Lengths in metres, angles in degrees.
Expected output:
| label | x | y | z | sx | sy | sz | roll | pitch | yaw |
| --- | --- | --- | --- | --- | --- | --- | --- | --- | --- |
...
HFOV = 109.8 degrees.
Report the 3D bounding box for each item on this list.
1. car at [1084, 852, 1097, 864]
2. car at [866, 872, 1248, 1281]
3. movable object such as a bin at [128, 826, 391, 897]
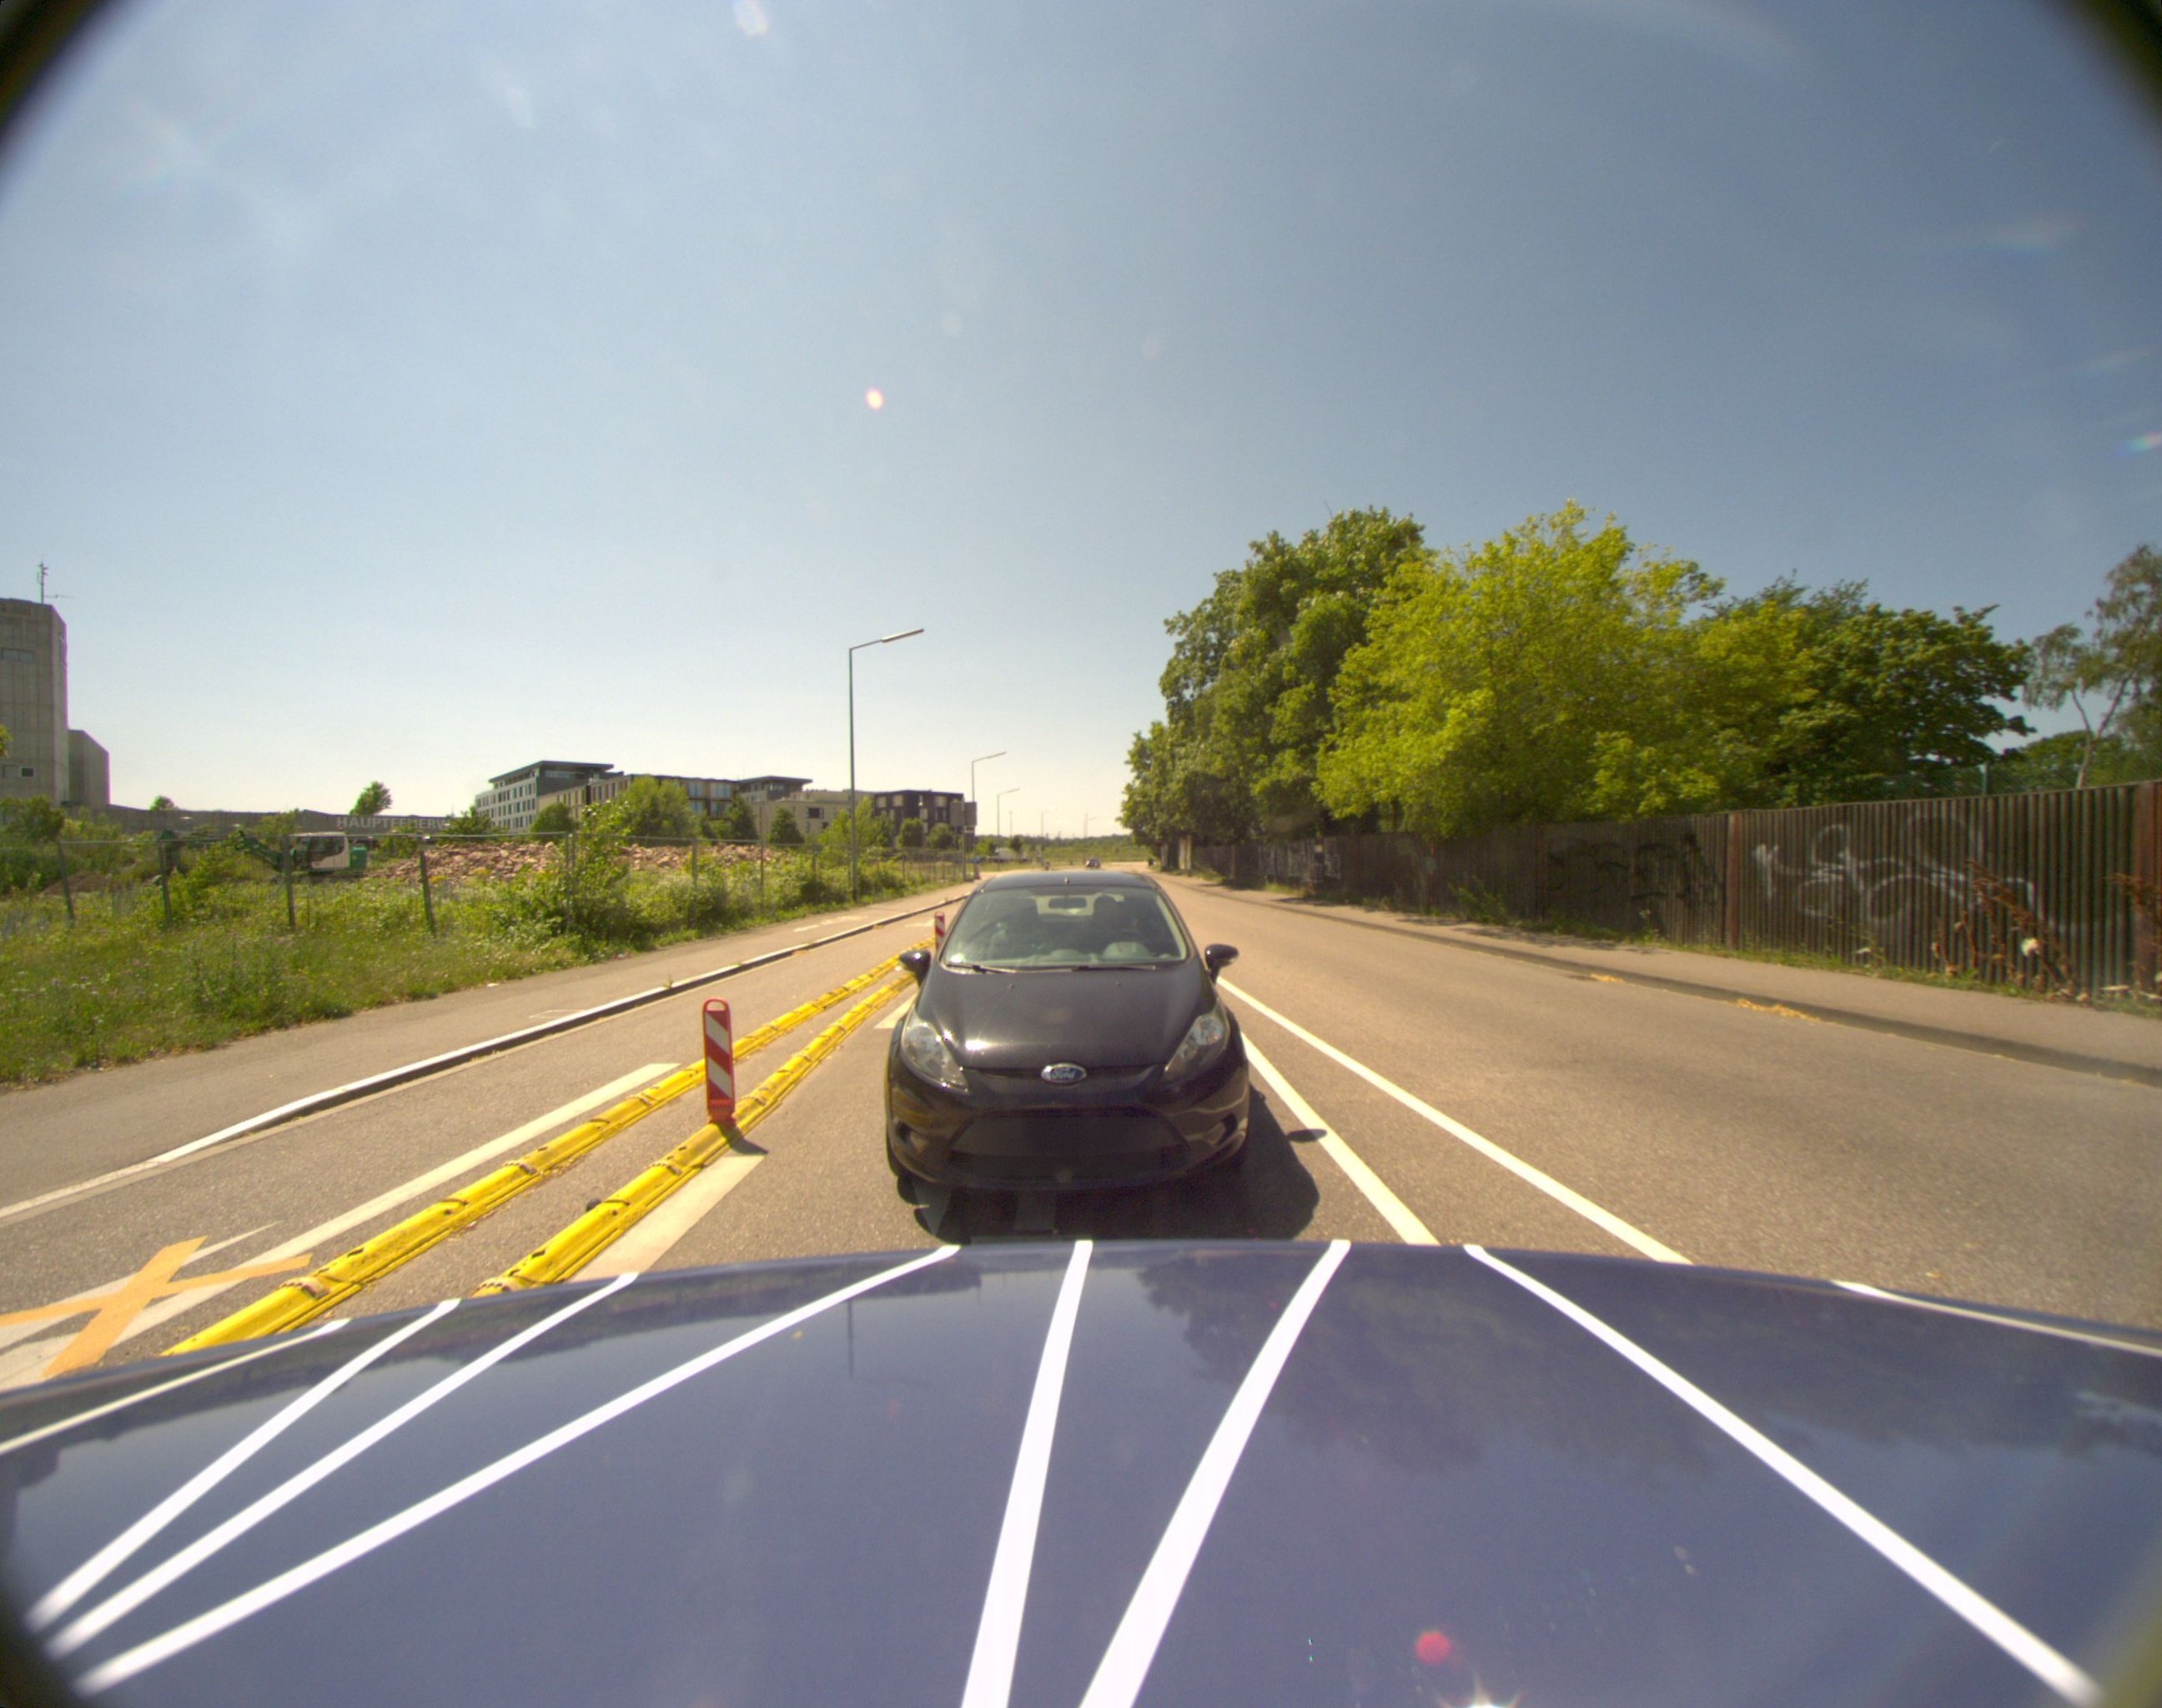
| label | x | y | z | sx | sy | sz | roll | pitch | yaw |
| --- | --- | --- | --- | --- | --- | --- | --- | --- | --- |
| car | 1.514 | 0.606 | 118.692 | 1.924 | 1.643 | 4.668 | -2 | 1 | 1 |
| car | -0.070 | 0.976 | 5.151 | 1.528 | 1.510 | 3.999 | -2 | 1 | 1 |
| movable object such as a bin | -38.338 | 0.265 | 35.976 | 3.231 | 2.899 | 7.702 | -2 | 1 | 15 |
